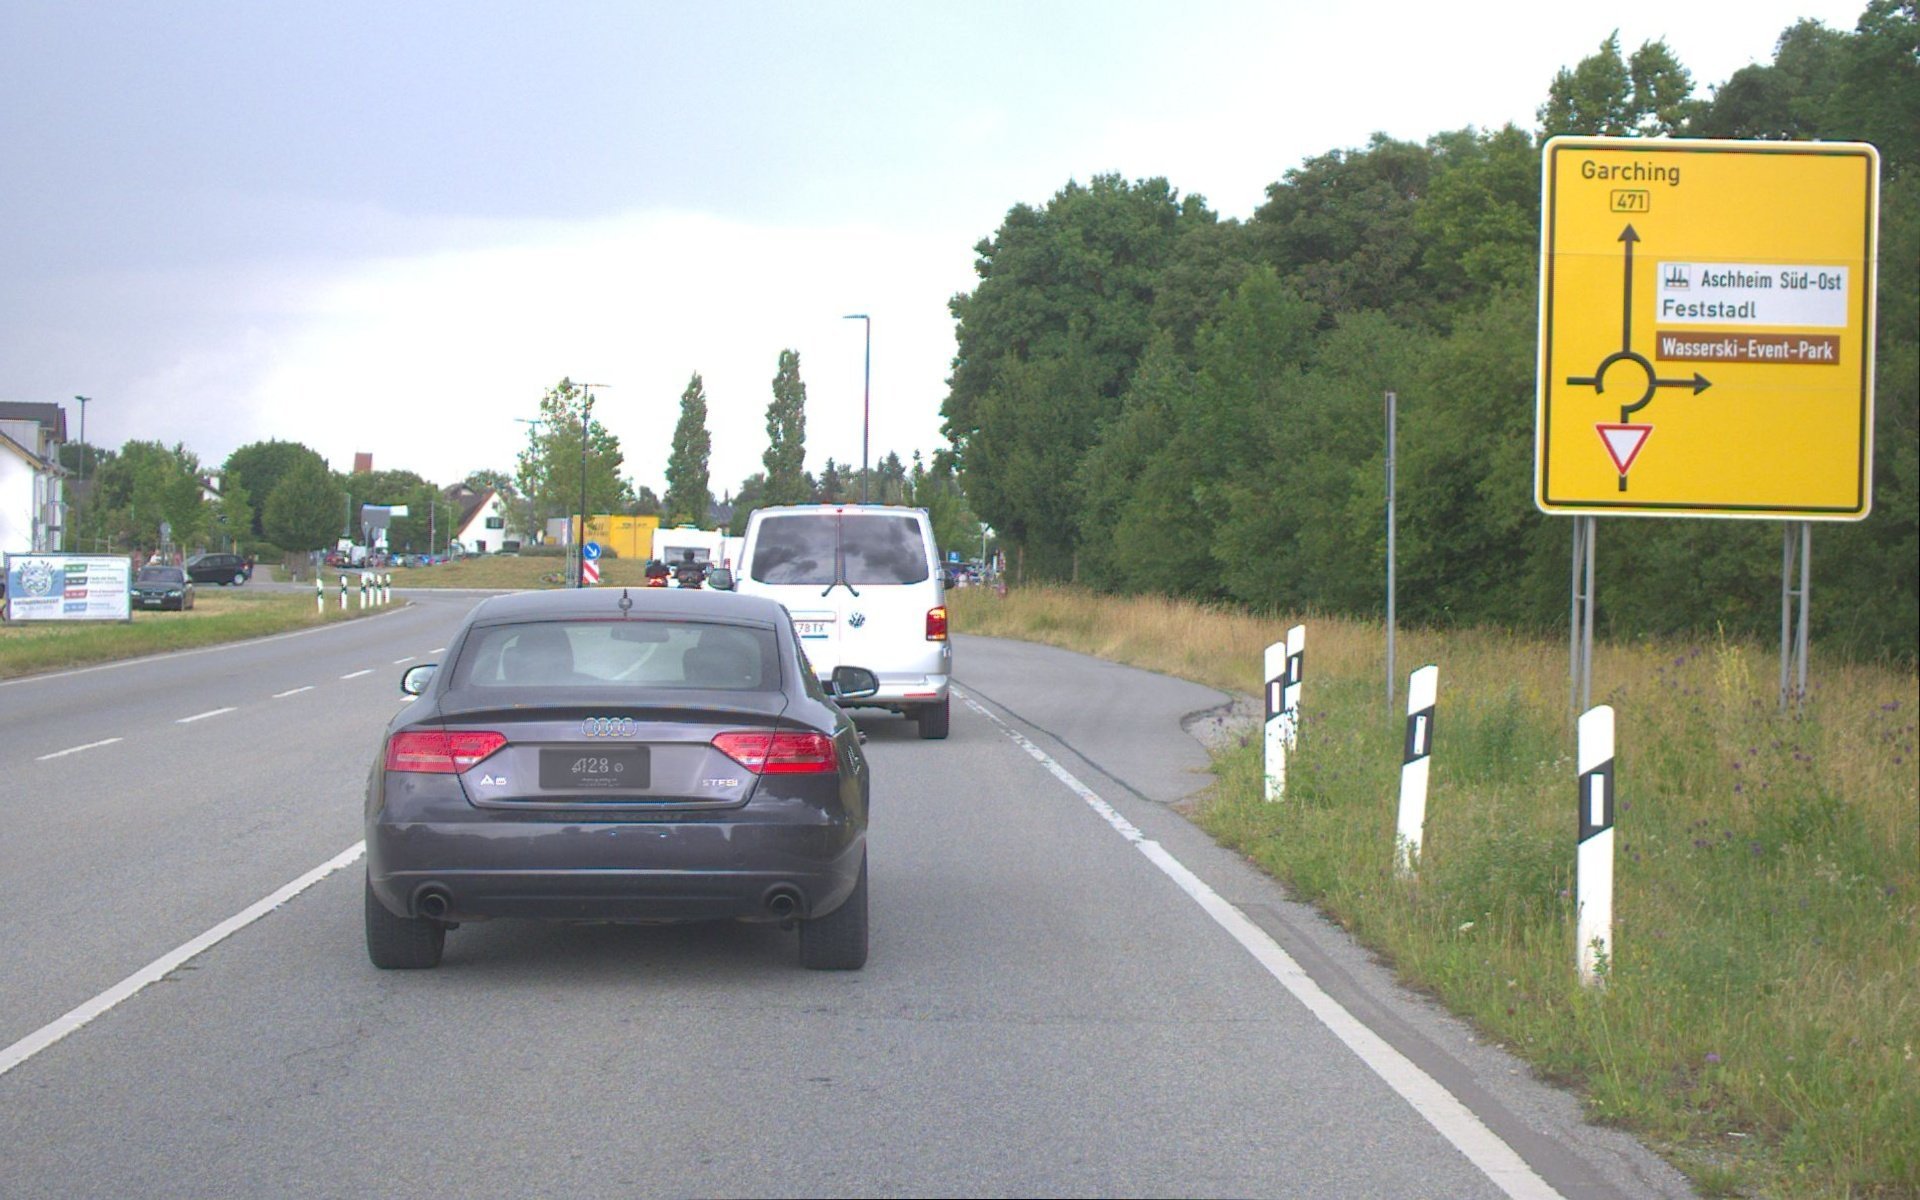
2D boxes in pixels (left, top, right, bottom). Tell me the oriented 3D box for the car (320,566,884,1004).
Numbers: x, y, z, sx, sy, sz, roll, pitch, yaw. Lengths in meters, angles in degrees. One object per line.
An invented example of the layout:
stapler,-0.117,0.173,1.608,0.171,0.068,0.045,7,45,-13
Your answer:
car,-1.327,0.605,13.629,1.875,1.449,4.177,0,1,-4

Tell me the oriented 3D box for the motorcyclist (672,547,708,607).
motorcyclist,-6.361,-0.550,81.034,0.772,1.379,0.820,1,0,-3

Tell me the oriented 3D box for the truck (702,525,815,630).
truck,-4.085,-0.465,70.133,2.193,2.007,5.085,1,0,-3

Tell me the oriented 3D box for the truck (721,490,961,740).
truck,-1.074,0.093,30.115,1.904,1.991,4.629,1,1,-3

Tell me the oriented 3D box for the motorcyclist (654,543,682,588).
motorcyclist,-8.941,-1.054,105.322,0.785,1.352,0.854,1,0,-9

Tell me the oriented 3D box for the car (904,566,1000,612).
car,-0.367,-0.518,159.740,3.990,2.007,1.998,2,0,17

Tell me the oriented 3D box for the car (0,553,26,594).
car,-34.570,-0.935,119.844,1.995,1.441,4.208,1,1,15

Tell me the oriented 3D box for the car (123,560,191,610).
car,-25.211,-0.489,107.900,1.993,1.437,4.001,1,1,-14

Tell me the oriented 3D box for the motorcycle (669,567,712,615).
motorcycle,-6.363,-0.219,81.126,0.920,1.090,2.189,1,1,-3

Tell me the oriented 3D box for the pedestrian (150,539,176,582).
pedestrian,-30.045,-1.485,129.623,0.701,1.580,0.657,1,0,14

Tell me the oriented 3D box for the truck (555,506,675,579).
truck,-17.892,-3.029,177.701,3.575,3.566,9.959,2,1,-21

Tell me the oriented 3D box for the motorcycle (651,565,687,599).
motorcycle,-8.926,-0.550,105.312,0.944,1.016,2.284,1,1,-9

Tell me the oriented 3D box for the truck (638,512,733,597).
truck,-9.317,-1.538,116.334,2.625,2.728,5.869,2,0,-10
